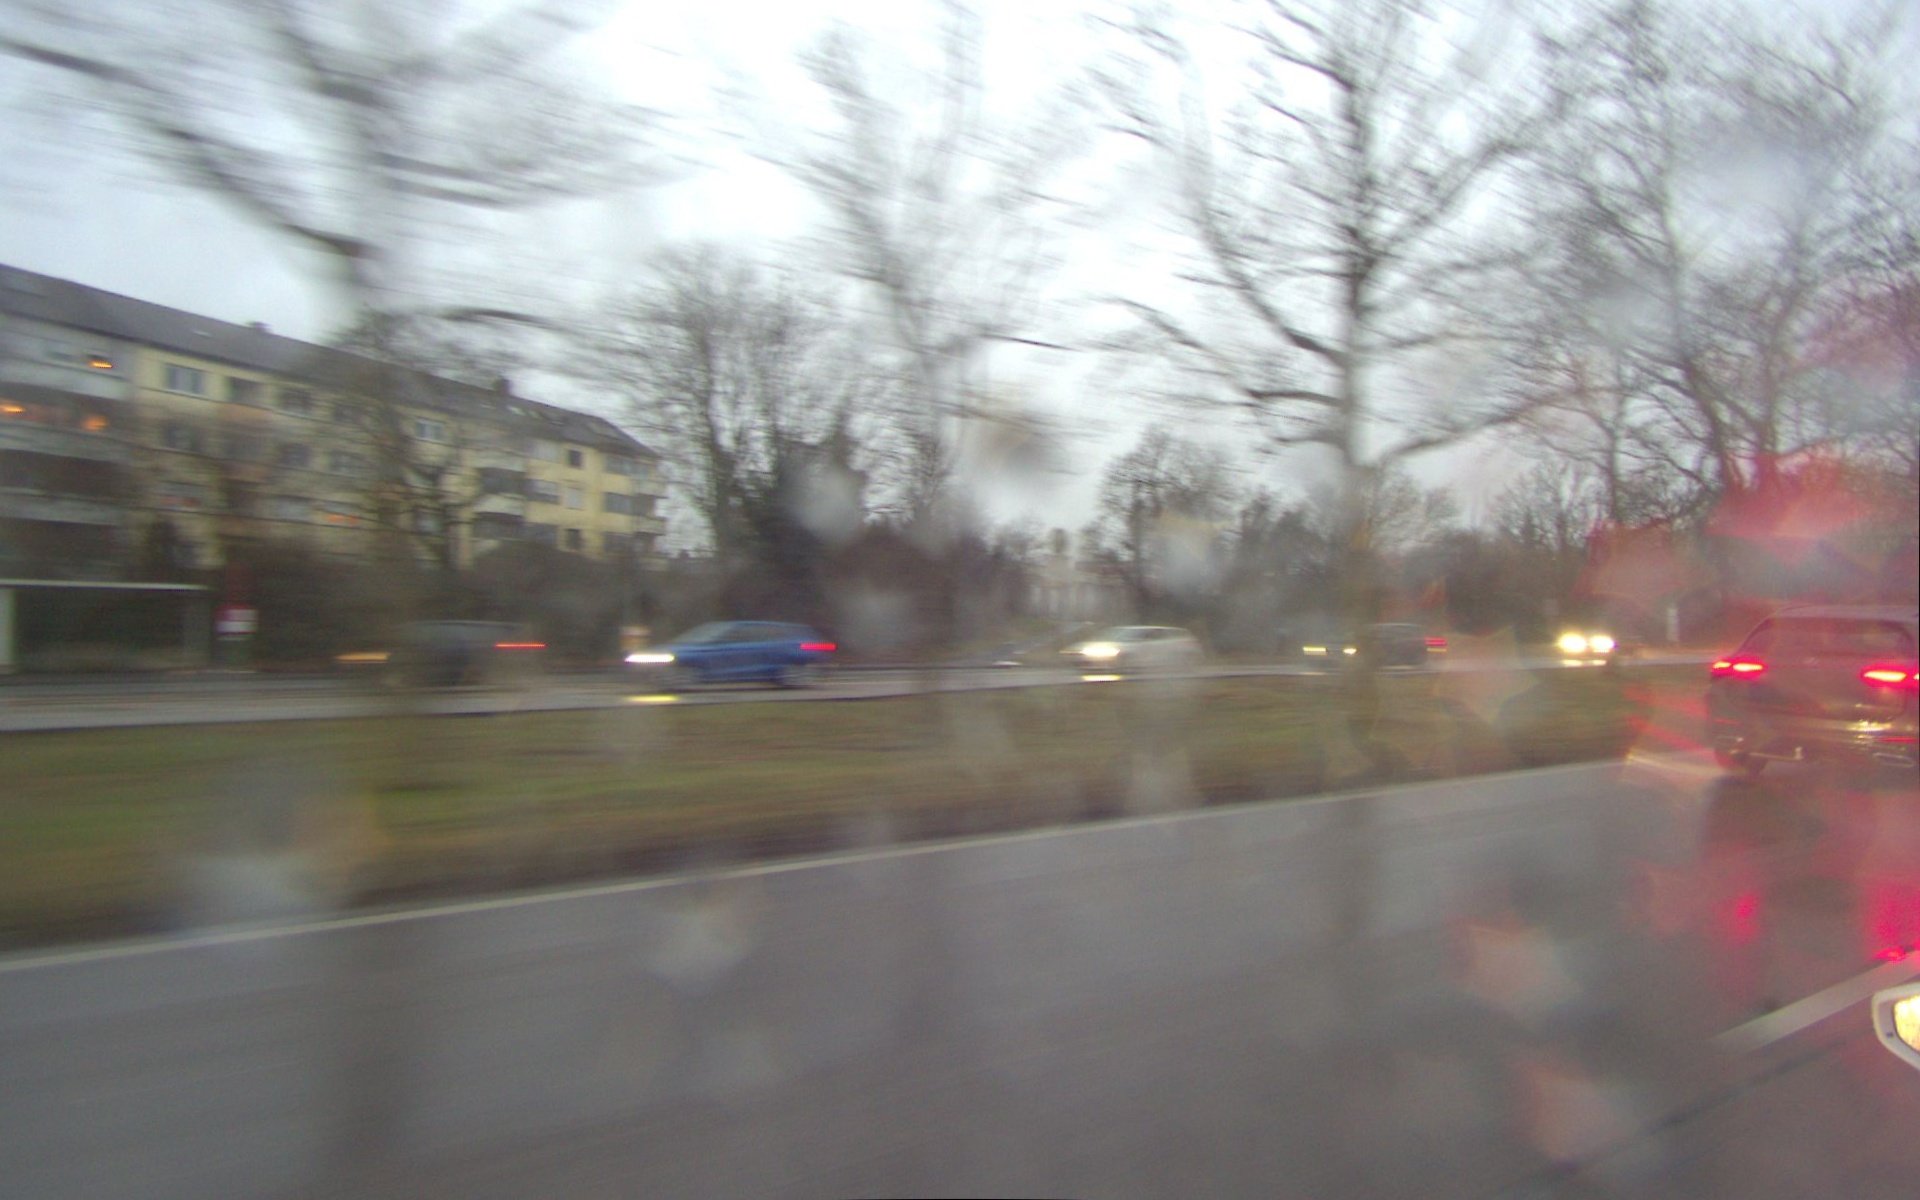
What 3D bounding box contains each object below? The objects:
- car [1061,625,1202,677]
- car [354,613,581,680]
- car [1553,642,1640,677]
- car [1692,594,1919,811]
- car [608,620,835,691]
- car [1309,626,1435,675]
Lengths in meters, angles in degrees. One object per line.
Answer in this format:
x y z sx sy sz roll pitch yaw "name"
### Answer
5.338 1.570 31.163 4.147 1.502 1.744 2 -1 -29 "car"
-10.651 0.987 21.829 4.266 1.325 1.743 2 -1 -31 "car"
28.932 2.680 45.631 4.150 1.502 1.742 2 -1 -32 "car"
8.942 0.863 9.451 4.417 1.669 1.813 2 -2 -32 "car"
-4.916 1.127 20.886 4.266 1.325 1.743 2 -1 -31 "car"
12.725 1.527 30.935 3.957 1.357 1.628 2 0 -33 "car"
